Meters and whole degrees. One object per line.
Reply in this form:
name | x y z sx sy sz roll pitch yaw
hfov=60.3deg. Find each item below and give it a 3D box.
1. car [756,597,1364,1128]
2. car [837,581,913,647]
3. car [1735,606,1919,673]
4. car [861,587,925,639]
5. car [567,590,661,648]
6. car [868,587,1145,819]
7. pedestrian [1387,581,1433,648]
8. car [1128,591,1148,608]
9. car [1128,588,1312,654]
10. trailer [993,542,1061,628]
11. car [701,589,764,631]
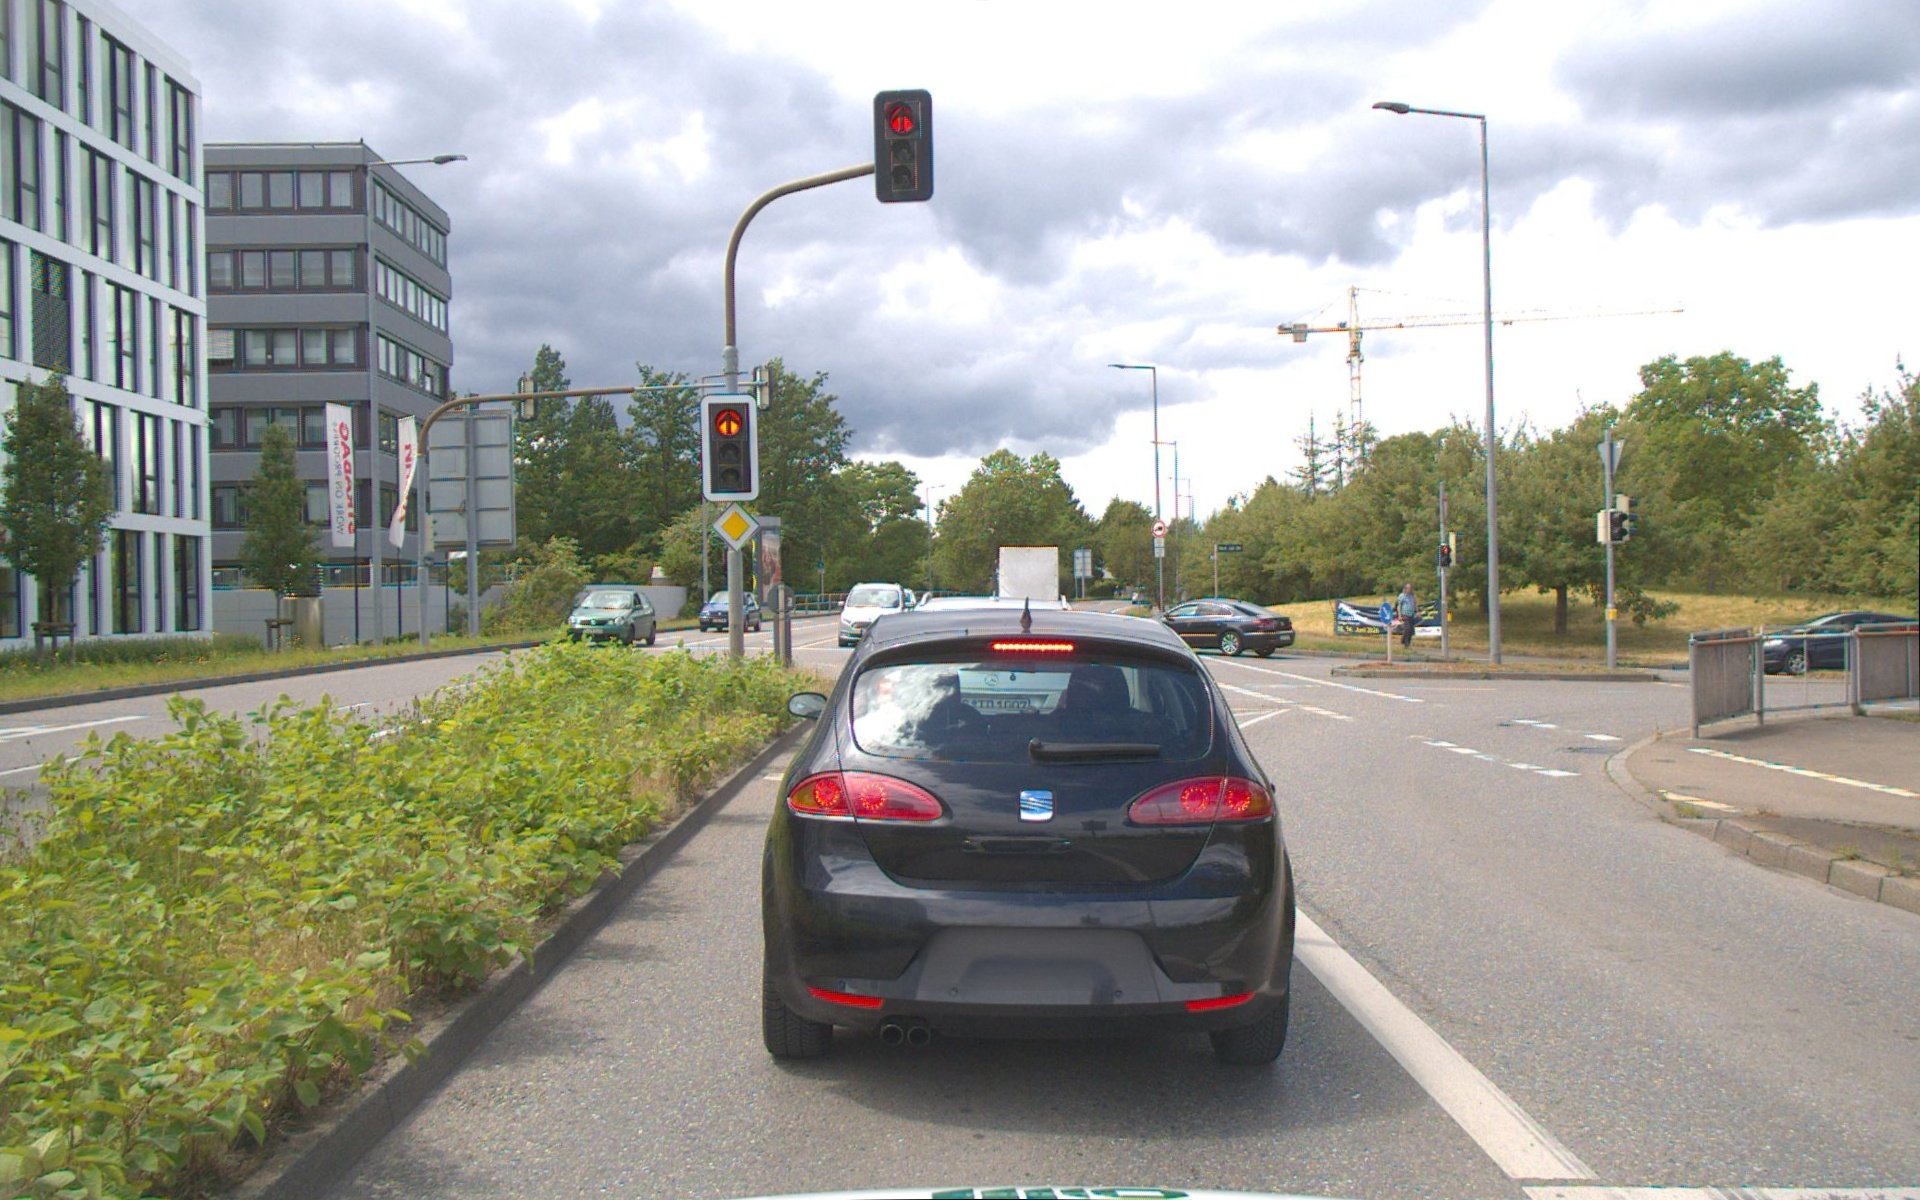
car | 0.263 0.729 6.329 1.676 1.442 3.459 1 0 -1
car | -2.325 0.347 46.157 1.783 1.716 4.646 1 1 1
car | 20.308 0.900 38.447 3.796 1.471 1.761 1 0 10
car | -2.070 0.380 52.239 1.625 1.545 4.086 1 1 3
car | -9.019 0.461 43.332 1.572 1.457 3.753 0 0 1
car | 0.322 0.683 12.736 1.797 1.493 3.751 1 0 0
pedestrian | 12.482 0.392 45.915 0.709 1.824 1.034 1 -1 -27
car | 16.915 -0.035 157.259 1.631 1.624 4.003 1 0 10
car | 6.760 0.526 43.242 4.388 1.593 1.989 1 0 40
trailer | 2.566 -0.543 63.347 2.439 3.127 5.588 1 0 2
car | -8.066 0.333 59.002 1.521 1.444 3.897 1 1 3
